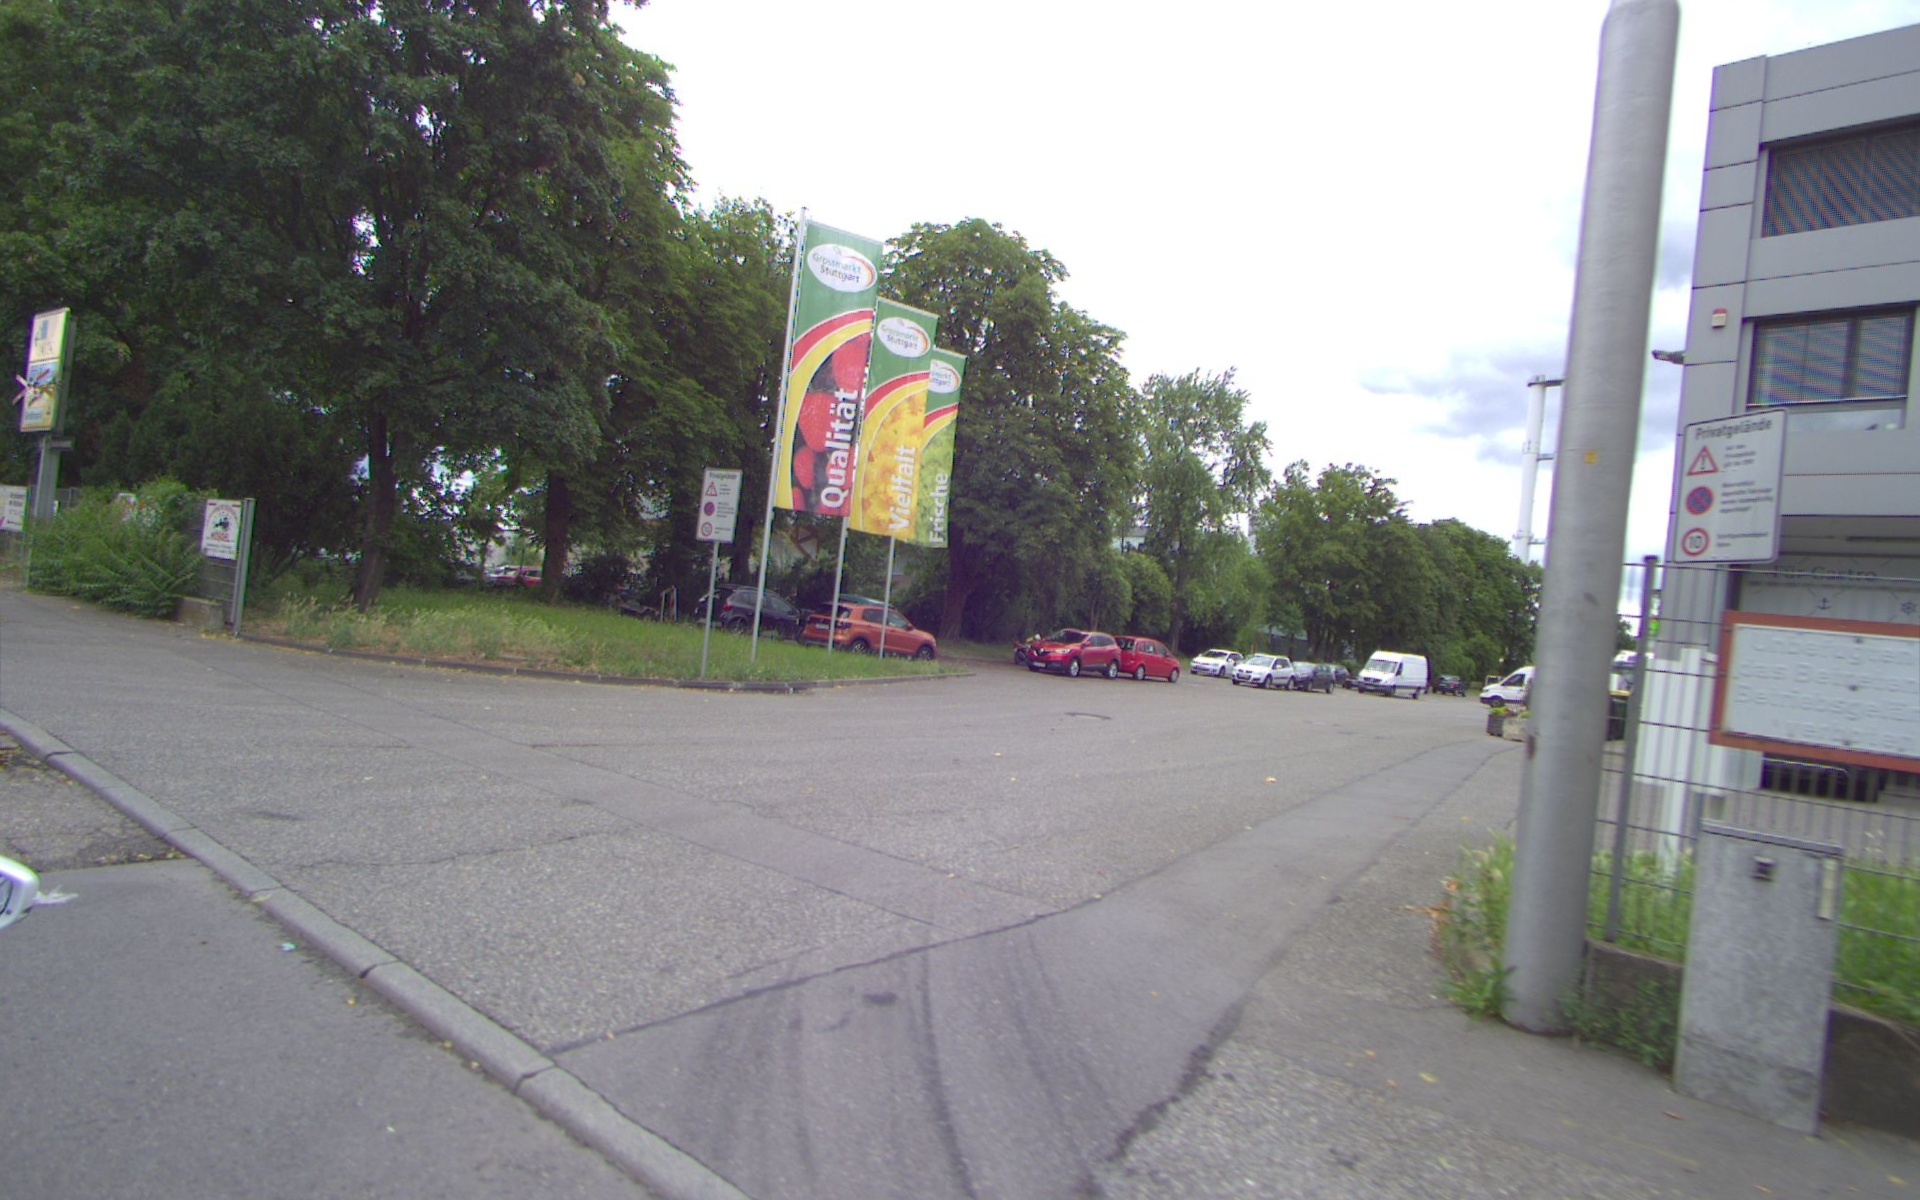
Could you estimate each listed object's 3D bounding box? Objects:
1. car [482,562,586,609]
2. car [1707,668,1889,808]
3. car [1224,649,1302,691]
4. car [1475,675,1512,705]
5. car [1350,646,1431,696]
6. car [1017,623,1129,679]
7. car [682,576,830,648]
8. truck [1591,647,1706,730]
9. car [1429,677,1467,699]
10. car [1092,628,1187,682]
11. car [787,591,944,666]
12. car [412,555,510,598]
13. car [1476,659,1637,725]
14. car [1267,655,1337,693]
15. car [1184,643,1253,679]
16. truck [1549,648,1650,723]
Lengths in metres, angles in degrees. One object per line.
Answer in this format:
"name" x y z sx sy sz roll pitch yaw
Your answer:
"car" -19.655 -0.646 46.527 1.804 1.667 3.943 6 -1 40
"car" 12.977 2.077 15.660 1.832 1.694 3.697 6 -1 40
"car" 14.299 3.316 47.339 1.804 1.562 4.224 6 -1 41
"car" 46.887 7.932 88.309 1.804 2.303 4.224 7 -1 41
"car" 25.812 4.293 60.193 2.368 2.437 6.651 6 -1 41
"car" 4.045 1.824 35.503 1.804 1.562 4.225 6 -1 40
"car" -5.994 0.397 29.889 1.804 1.667 3.943 6 -1 40
"truck" 41.130 5.399 59.832 3.190 4.128 12.858 7 -1 44
"car" 41.440 7.459 85.391 1.804 1.562 4.224 6 -1 41
"car" 7.037 2.181 39.233 1.804 1.704 3.943 6 -1 40
"car" -2.467 0.801 26.929 1.804 1.553 3.943 6 -1 40
"car" -25.163 -1.158 50.827 1.804 1.667 3.943 6 -1 40
"car" 32.192 4.924 54.478 6.871 2.584 2.684 6 -1 45
"car" 17.245 3.748 50.610 1.804 1.562 4.224 6 -1 41
"car" 13.976 3.331 54.305 1.804 1.562 4.224 6 -1 41
"truck" 45.927 6.264 71.959 3.190 4.519 12.858 7 -1 44
